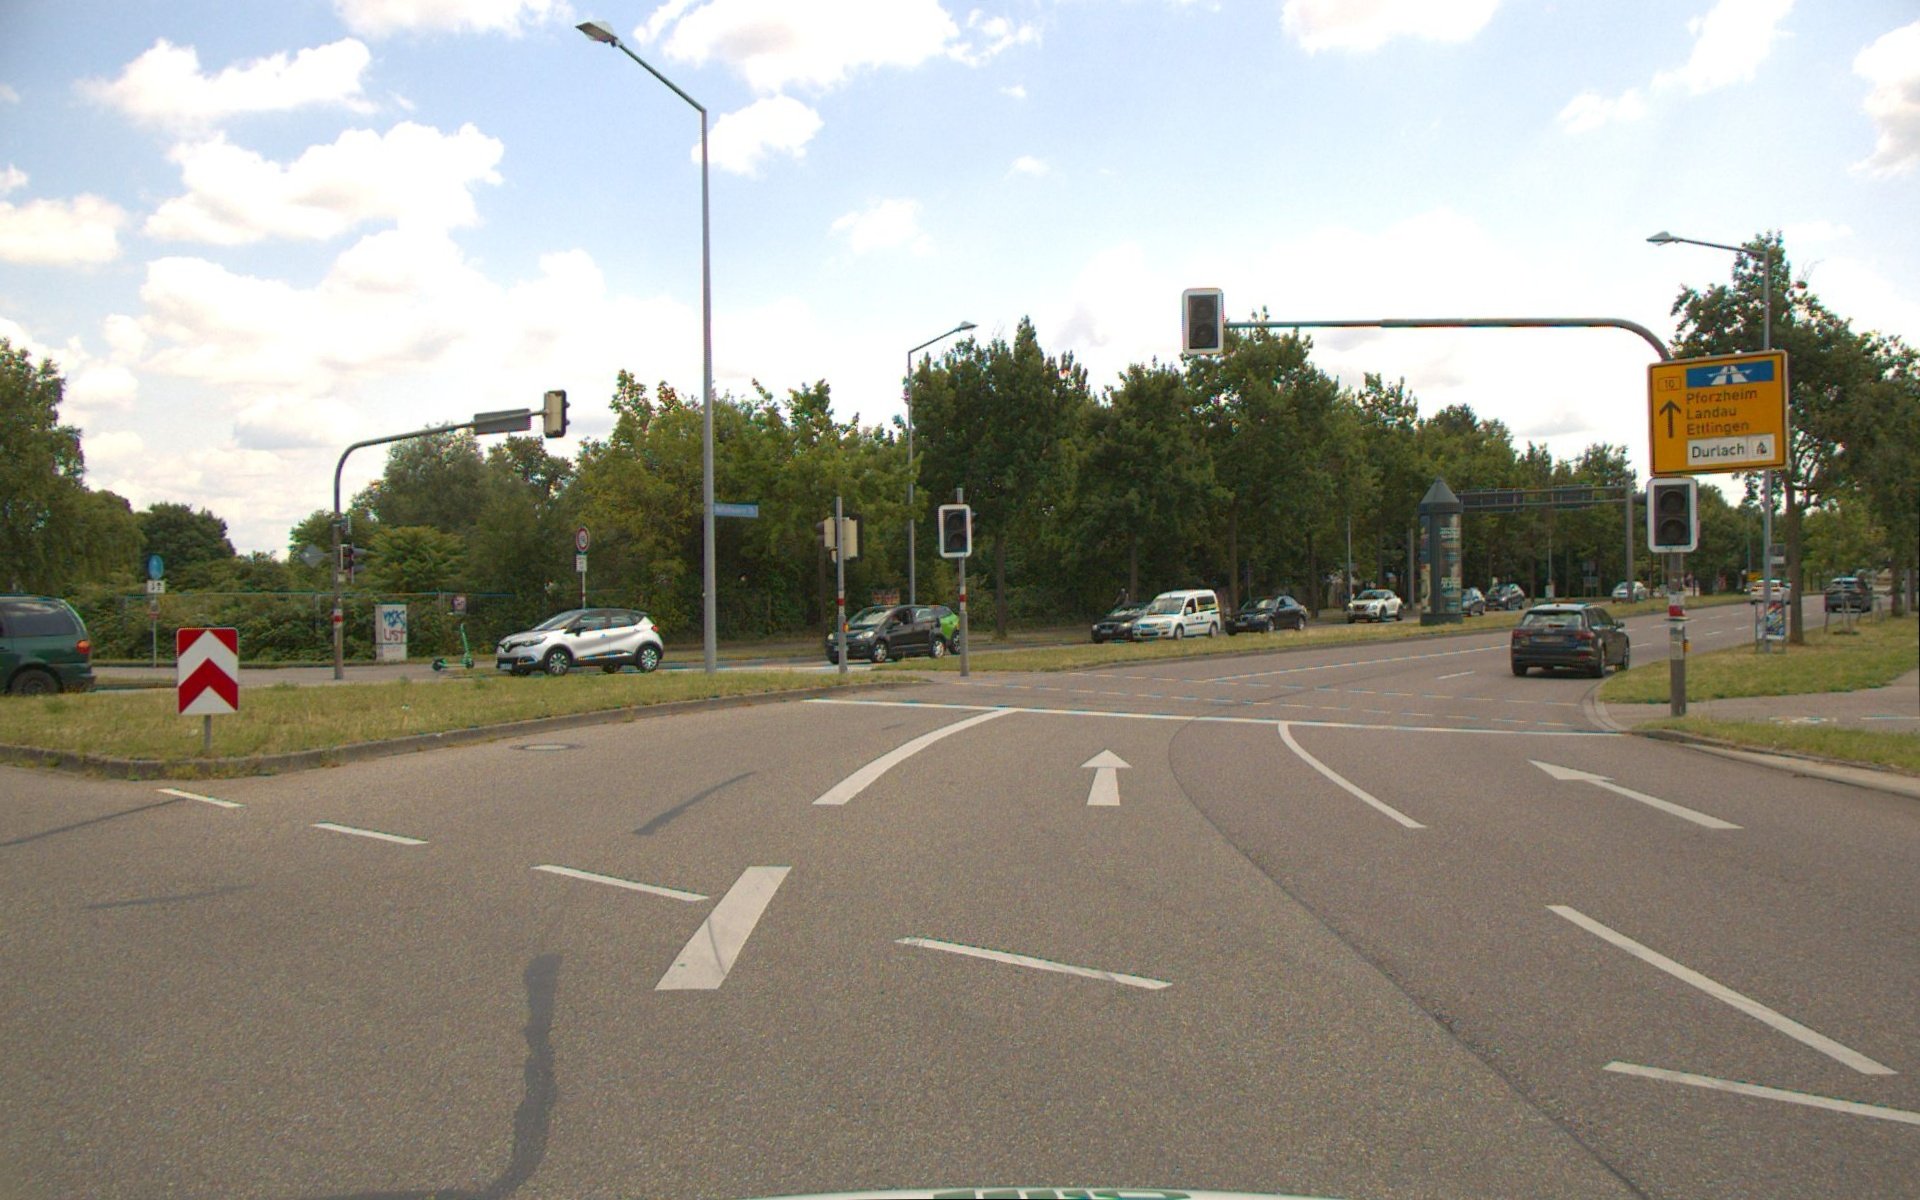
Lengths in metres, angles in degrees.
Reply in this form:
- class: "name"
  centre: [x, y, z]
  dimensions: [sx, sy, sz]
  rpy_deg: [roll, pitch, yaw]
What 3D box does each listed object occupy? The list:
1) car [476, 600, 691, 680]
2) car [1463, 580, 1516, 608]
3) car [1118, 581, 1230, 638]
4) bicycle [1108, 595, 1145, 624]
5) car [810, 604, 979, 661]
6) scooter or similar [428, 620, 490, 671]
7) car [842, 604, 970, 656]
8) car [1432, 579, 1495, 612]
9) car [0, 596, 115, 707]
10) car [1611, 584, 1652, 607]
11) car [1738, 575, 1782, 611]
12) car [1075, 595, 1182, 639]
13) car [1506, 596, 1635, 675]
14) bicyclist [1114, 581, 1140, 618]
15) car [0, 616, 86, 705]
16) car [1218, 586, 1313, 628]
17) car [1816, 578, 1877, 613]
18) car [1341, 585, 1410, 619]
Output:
- class: "car"
  centre: [-8.910, 0.892, 39.436]
  dimensions: [1.964, 1.716, 4.760]
  rpy_deg: [0, 0, 41]
- class: "car"
  centre: [32.413, -0.389, 101.172]
  dimensions: [1.732, 1.604, 5.016]
  rpy_deg: [-2, 0, 34]
- class: "car"
  centre: [7.426, 0.314, 57.062]
  dimensions: [1.806, 1.831, 4.771]
  rpy_deg: [-3, -1, 35]
- class: "bicycle"
  centre: [7.461, 0.415, 73.975]
  dimensions: [0.747, 1.240, 2.010]
  rpy_deg: [2, 1, 34]
- class: "car"
  centre: [-1.651, 0.830, 43.367]
  dimensions: [1.808, 1.333, 4.767]
  rpy_deg: [-3, -1, 37]
- class: "scooter or similar"
  centre: [-12.420, 1.118, 41.035]
  dimensions: [0.532, 1.186, 1.434]
  rpy_deg: [0, 1, 38]
- class: "car"
  centre: [-1.549, 0.861, 48.720]
  dimensions: [1.588, 1.372, 4.156]
  rpy_deg: [-3, -1, 35]
- class: "car"
  centre: [26.036, -0.242, 85.379]
  dimensions: [1.692, 1.618, 4.997]
  rpy_deg: [-2, 0, 34]
- class: "car"
  centre: [-15.278, 0.779, 24.691]
  dimensions: [4.539, 1.620, 1.890]
  rpy_deg: [-1, 0, -35]
- class: "car"
  centre: [46.183, -0.325, 113.648]
  dimensions: [1.732, 1.465, 4.295]
  rpy_deg: [-2, 0, 34]
- class: "car"
  centre: [47.099, -0.430, 97.327]
  dimensions: [1.957, 2.049, 3.990]
  rpy_deg: [1, 1, 32]
- class: "car"
  centre: [6.221, 0.610, 60.784]
  dimensions: [1.808, 1.468, 4.399]
  rpy_deg: [-3, -1, 38]
- class: "car"
  centre: [12.653, 0.673, 34.138]
  dimensions: [1.654, 1.489, 3.989]
  rpy_deg: [1, 1, 33]
- class: "bicyclist"
  centre: [7.457, -0.022, 73.947]
  dimensions: [0.815, 1.592, 0.881]
  rpy_deg: [2, 1, 34]
- class: "car"
  centre: [-17.184, 1.039, 27.965]
  dimensions: [4.138, 1.448, 1.890]
  rpy_deg: [-1, 0, -33]
- class: "car"
  centre: [11.867, 0.241, 64.006]
  dimensions: [1.806, 1.506, 4.738]
  rpy_deg: [-3, -1, 34]
- class: "car"
  centre: [44.375, -0.244, 82.763]
  dimensions: [1.962, 1.654, 4.289]
  rpy_deg: [0, 1, 39]
- class: "car"
  centre: [20.526, 0.098, 81.613]
  dimensions: [1.877, 1.567, 4.354]
  rpy_deg: [-2, 0, 34]
